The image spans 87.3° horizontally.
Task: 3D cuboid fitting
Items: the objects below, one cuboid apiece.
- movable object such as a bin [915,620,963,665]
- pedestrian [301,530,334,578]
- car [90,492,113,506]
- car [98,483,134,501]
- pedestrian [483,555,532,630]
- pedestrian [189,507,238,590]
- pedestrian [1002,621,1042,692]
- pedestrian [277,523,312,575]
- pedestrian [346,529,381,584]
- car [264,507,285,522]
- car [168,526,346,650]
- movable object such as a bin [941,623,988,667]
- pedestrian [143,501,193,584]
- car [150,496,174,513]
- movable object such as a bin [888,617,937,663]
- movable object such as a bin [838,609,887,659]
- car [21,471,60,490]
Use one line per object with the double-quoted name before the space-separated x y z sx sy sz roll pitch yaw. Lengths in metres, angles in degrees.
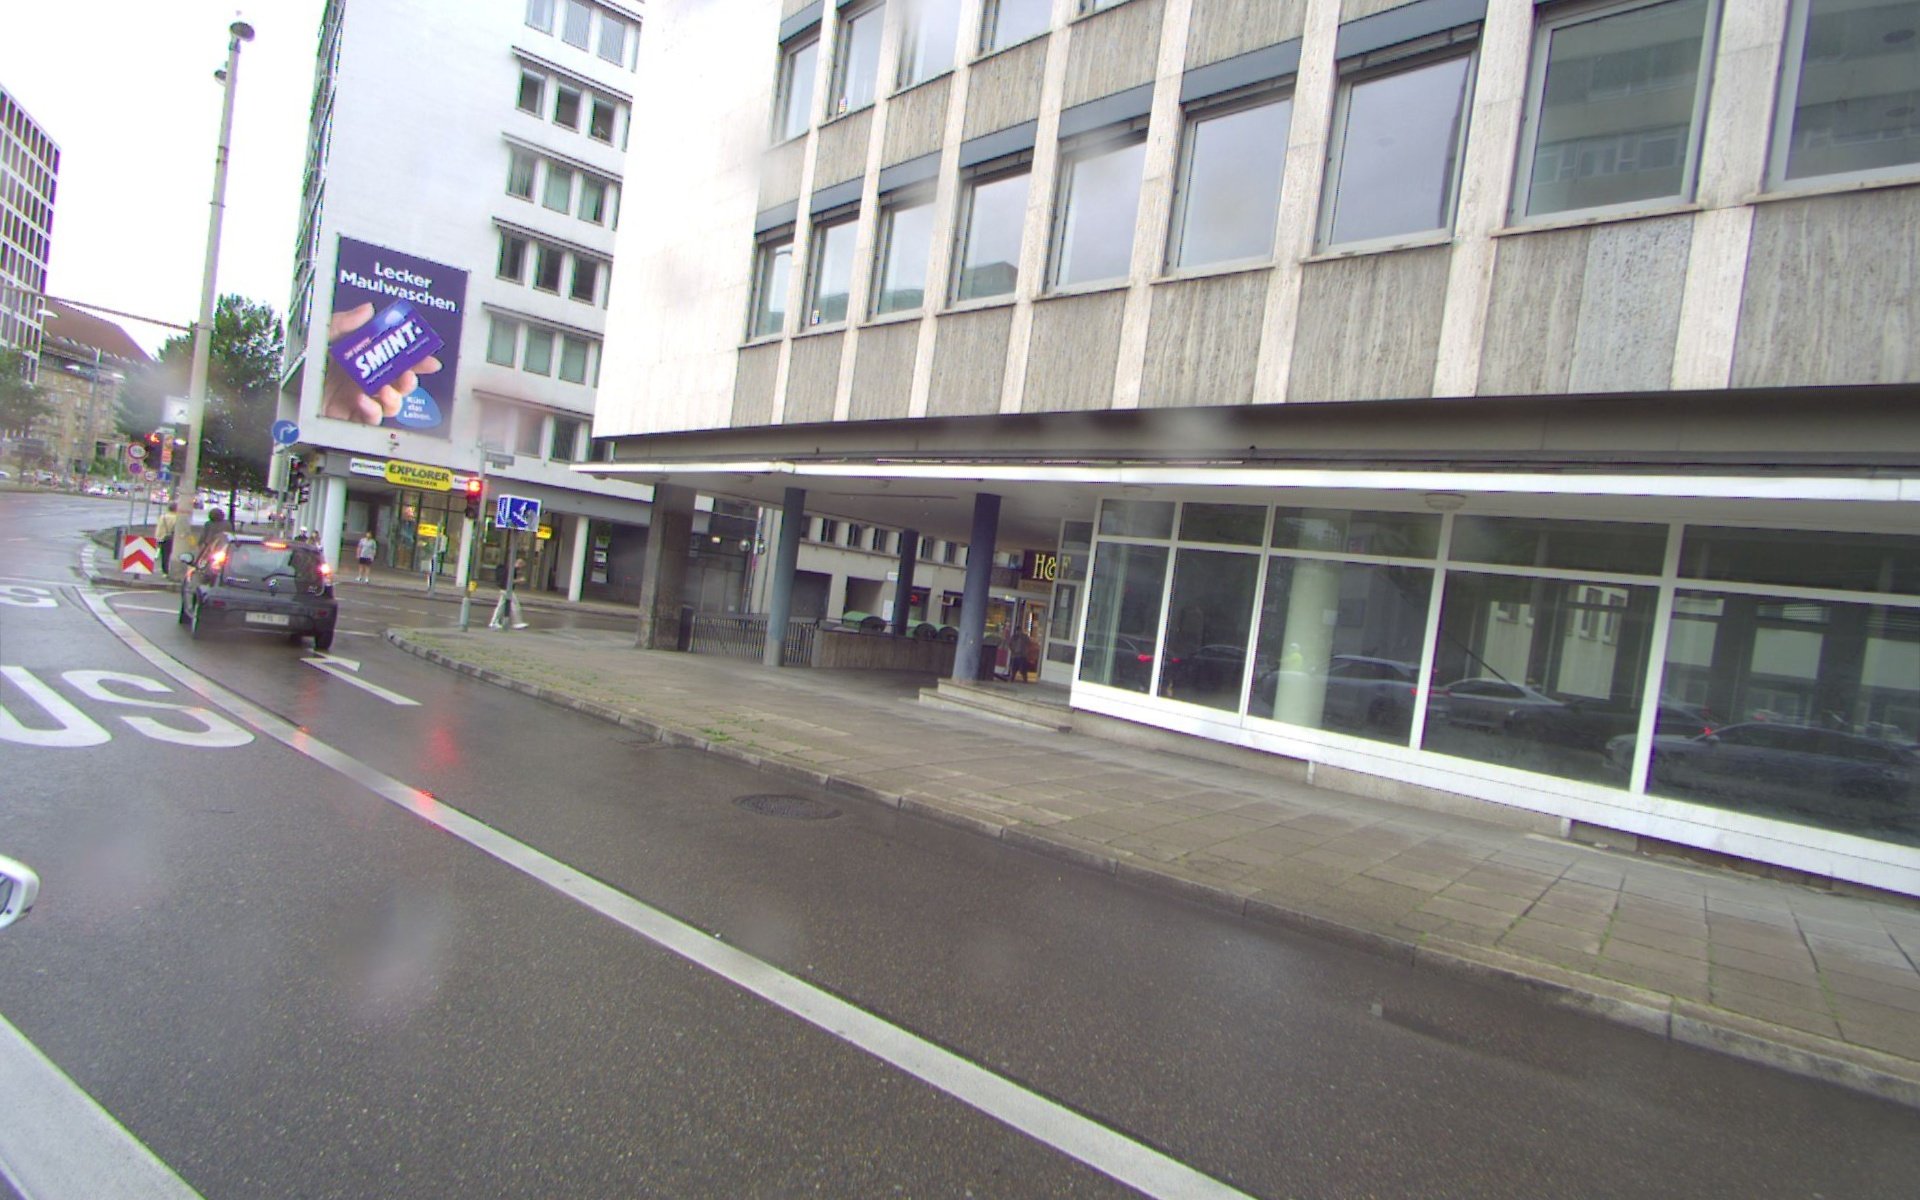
"movable object such as a bin" -0.746 1.507 35.956 1.095 1.399 1.186 7 1 -37
"pedestrian" -22.170 -1.583 34.702 0.616 1.561 0.651 8 0 -15
"car" -103.402 -12.138 121.194 1.622 1.454 3.871 8 0 -34
"car" -131.018 -16.737 156.225 3.969 2.037 1.979 9 -1 -38
"pedestrian" -11.184 -0.183 24.874 0.768 1.752 0.589 7 0 -44
"pedestrian" -17.695 -1.224 23.853 0.745 1.820 0.808 7 1 -38
"pedestrian" 1.715 1.560 27.644 0.697 1.825 0.801 8 0 19
"pedestrian" -22.816 -1.727 34.502 0.660 1.675 0.651 8 0 -15
"pedestrian" -20.918 -1.522 35.288 0.660 1.815 0.771 7 0 -15
"car" -91.727 -11.385 134.591 1.680 1.503 3.973 8 -2 -28
"car" -10.454 -0.233 14.846 1.566 1.446 3.953 9 -2 -42
"movable object such as a bin" 0.158 1.634 36.643 1.095 1.399 1.186 7 1 -37
"pedestrian" -18.499 -1.356 23.523 0.745 1.820 0.808 7 1 -38
"car" -96.455 -11.578 121.665 1.878 1.662 3.962 8 -1 -35
"movable object such as a bin" -1.674 1.393 35.224 1.095 1.399 1.186 7 1 -37
"movable object such as a bin" -3.265 1.129 33.527 0.961 1.447 1.268 7 1 -36
"car" -135.957 -17.679 148.759 3.969 2.037 1.979 9 -1 -38
